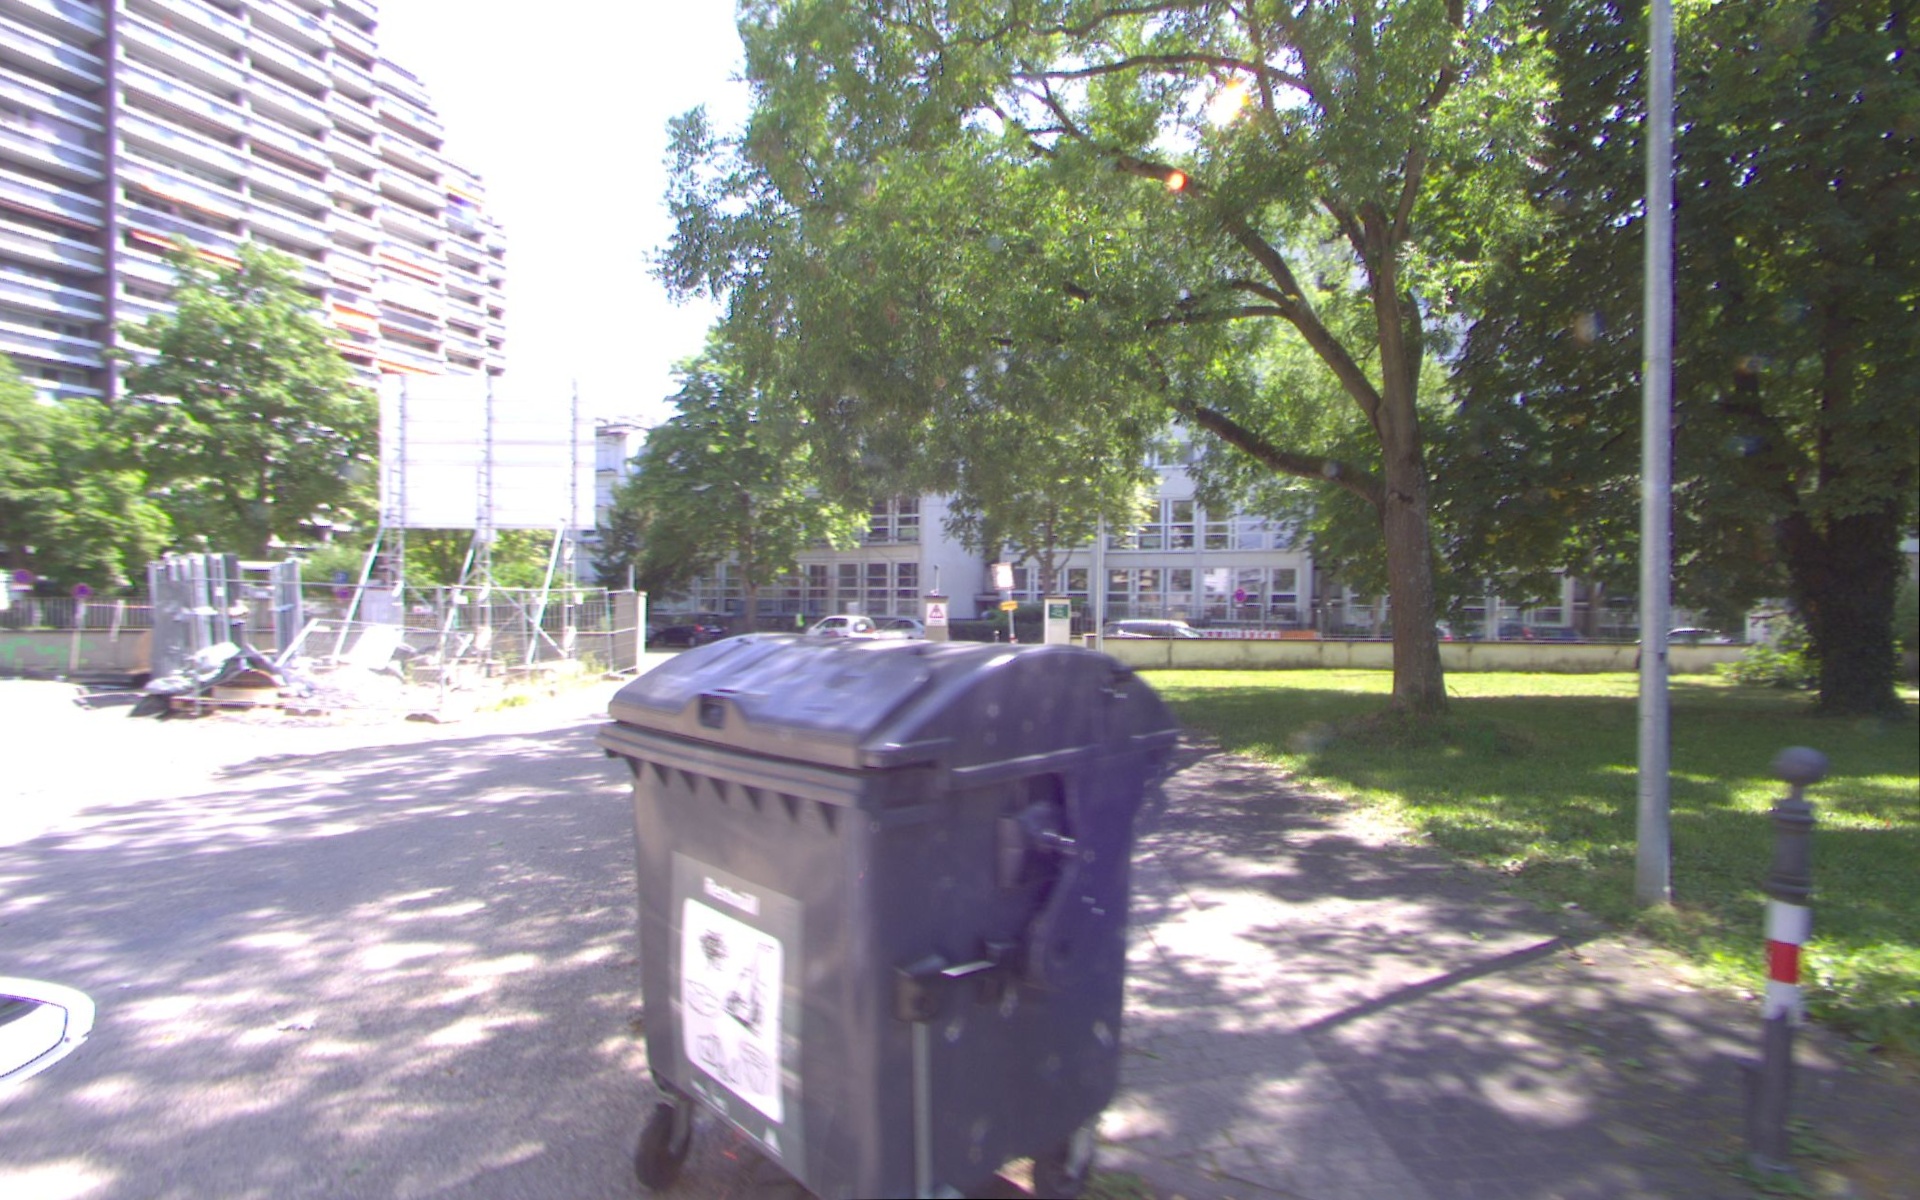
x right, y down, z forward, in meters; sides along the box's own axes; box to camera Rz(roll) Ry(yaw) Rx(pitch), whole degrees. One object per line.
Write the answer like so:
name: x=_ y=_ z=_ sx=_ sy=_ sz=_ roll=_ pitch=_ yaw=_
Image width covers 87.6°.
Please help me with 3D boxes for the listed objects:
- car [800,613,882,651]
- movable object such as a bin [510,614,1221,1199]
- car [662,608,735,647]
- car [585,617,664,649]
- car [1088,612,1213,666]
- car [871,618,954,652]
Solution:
car: x=-5.318 y=1.409 z=44.454 sx=3.651 sy=1.610 sz=1.655 roll=0 pitch=-1 yaw=42
movable object such as a bin: x=-0.172 y=0.776 z=2.422 sx=1.355 sy=1.477 sz=1.075 roll=0 pitch=0 yaw=27
car: x=-11.543 y=1.189 z=44.109 sx=1.991 sy=1.651 sz=3.906 roll=0 pitch=-1 yaw=-33
car: x=-14.645 y=1.398 z=43.596 sx=1.901 sy=1.327 sz=3.895 roll=1 pitch=-1 yaw=-42
car: x=5.416 y=1.109 z=28.649 sx=3.267 sy=1.498 sz=1.433 roll=0 pitch=0 yaw=-2
car: x=-2.130 y=1.506 z=44.284 sx=1.653 sy=1.434 sz=3.674 roll=1 pitch=-1 yaw=-44
